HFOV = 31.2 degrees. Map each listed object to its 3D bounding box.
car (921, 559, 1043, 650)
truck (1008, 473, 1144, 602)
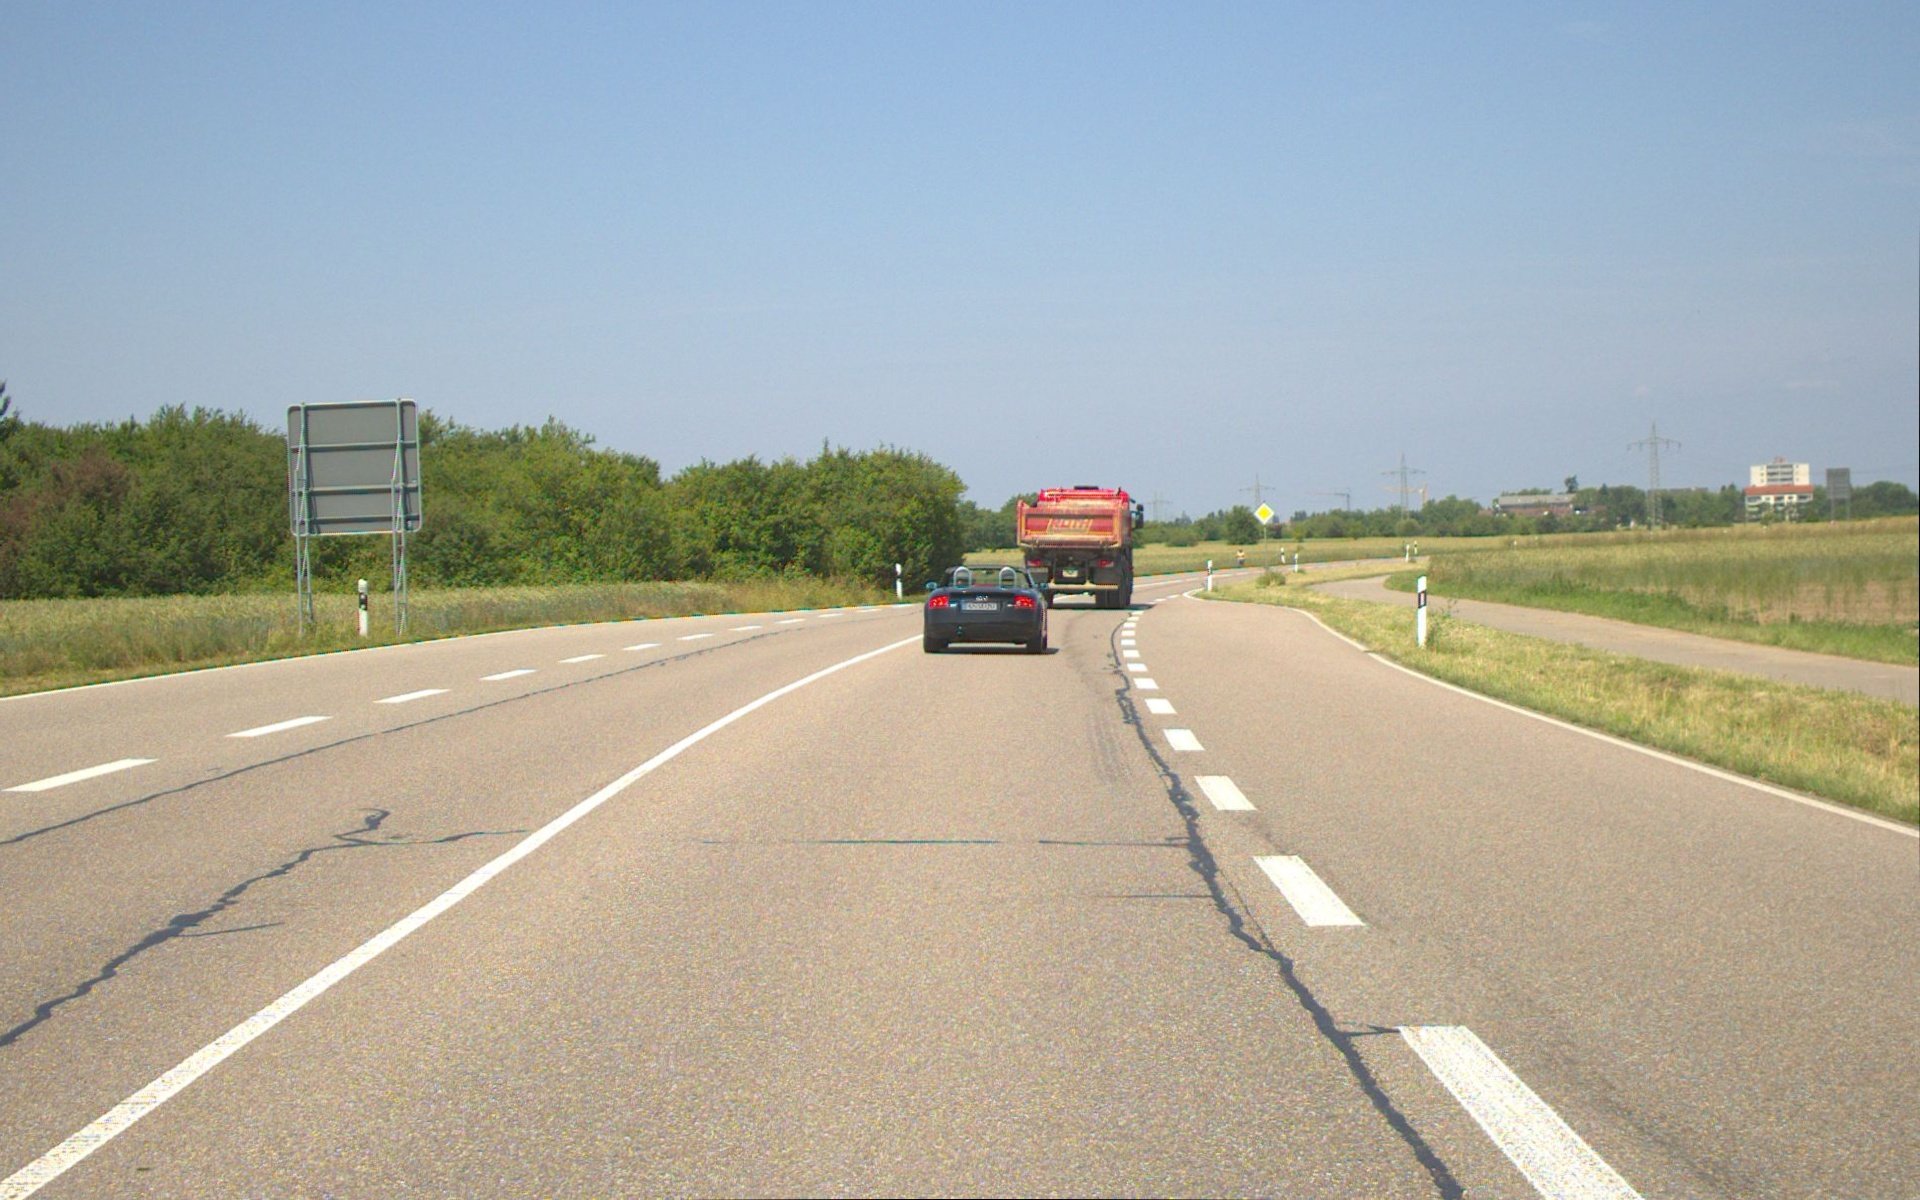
[{"bbox_3d":[0.296,0.045,51.154,1.744,1.275,4.000,0,1,0],"label":"car"},{"bbox_3d":[2.997,-1.554,86.807,2.938,3.078,7.195,0,1,6],"label":"truck"}]
